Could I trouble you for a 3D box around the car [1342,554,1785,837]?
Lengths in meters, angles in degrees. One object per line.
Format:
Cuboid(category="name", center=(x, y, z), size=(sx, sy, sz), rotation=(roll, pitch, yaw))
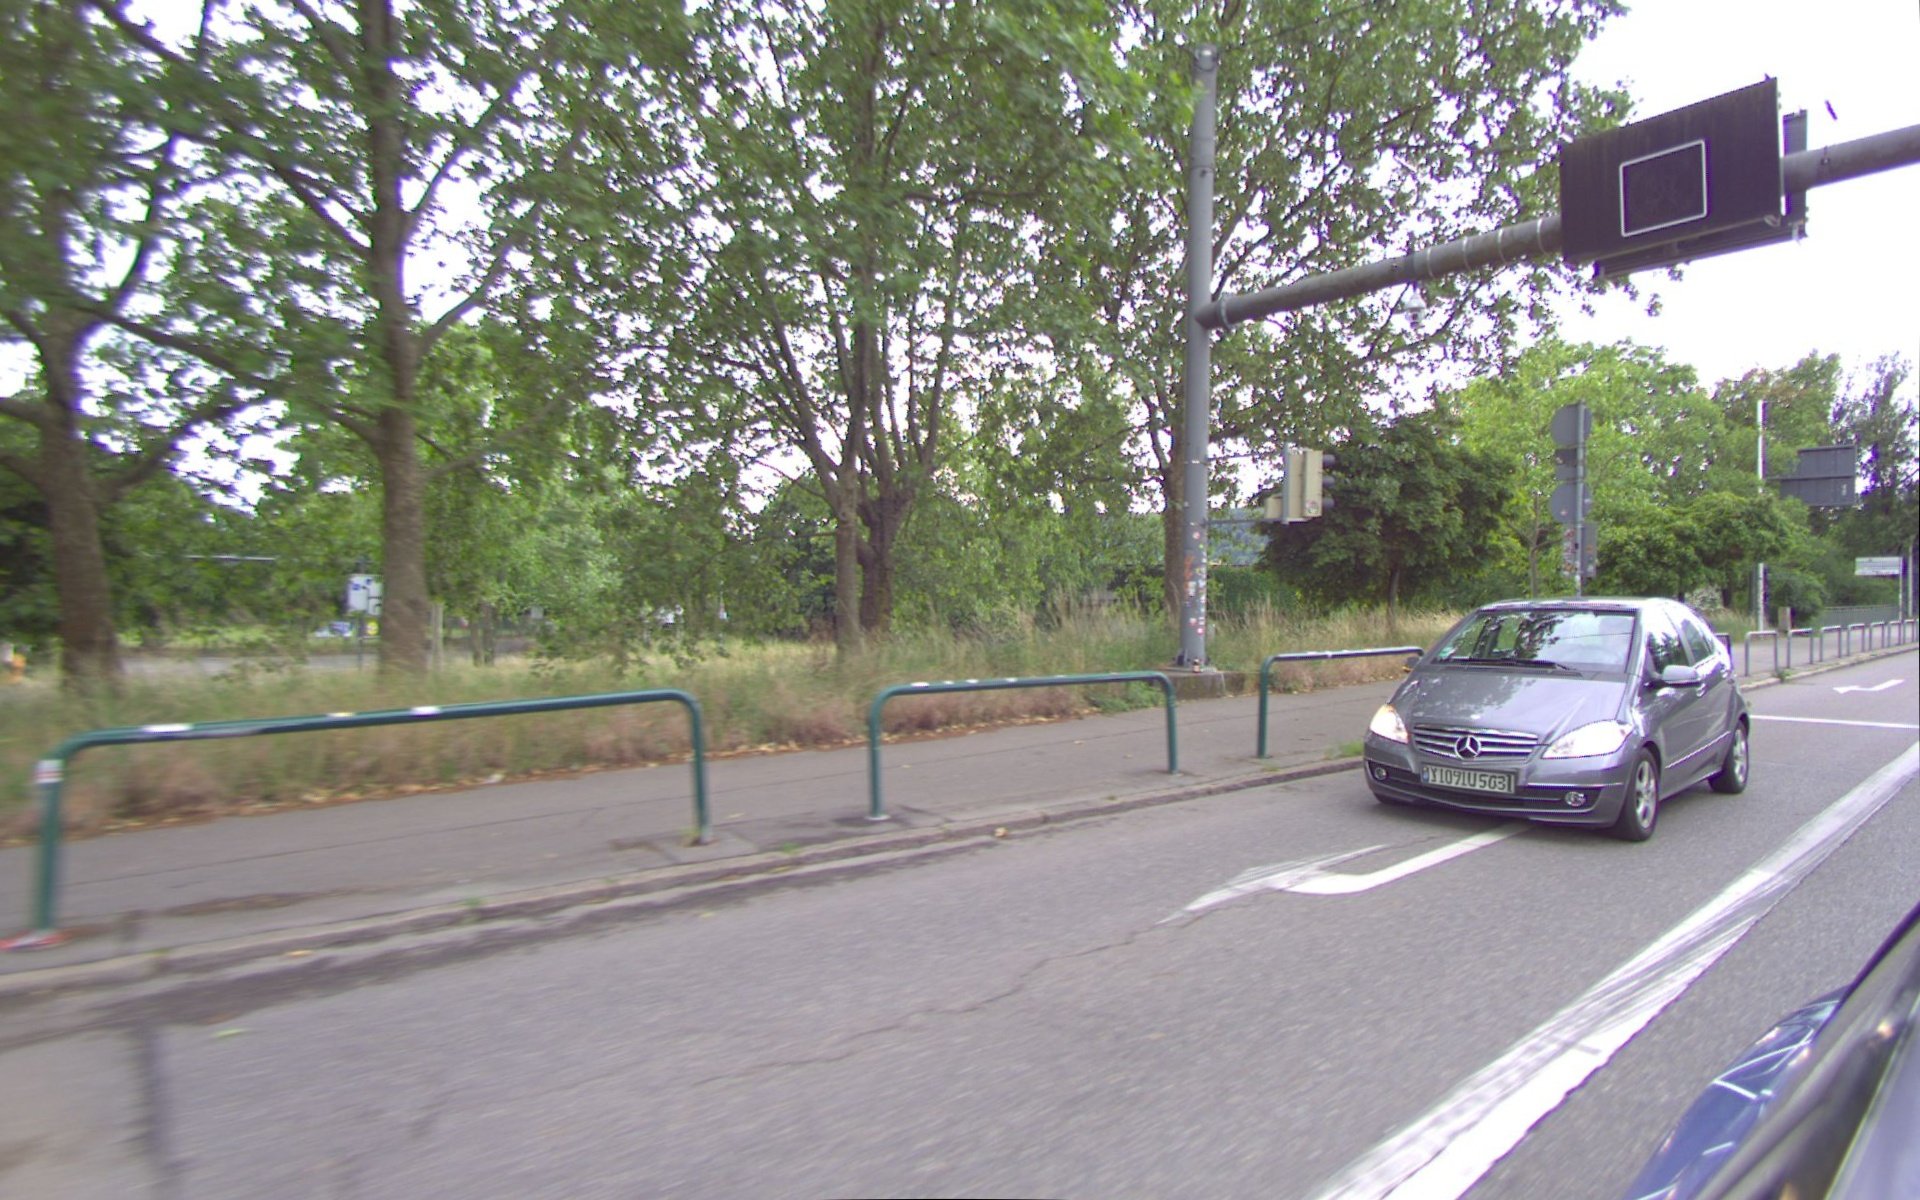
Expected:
Cuboid(category="car", center=(4.831, 0.584, 7.876), size=(3.963, 1.637, 1.829), rotation=(1, -1, -41))
